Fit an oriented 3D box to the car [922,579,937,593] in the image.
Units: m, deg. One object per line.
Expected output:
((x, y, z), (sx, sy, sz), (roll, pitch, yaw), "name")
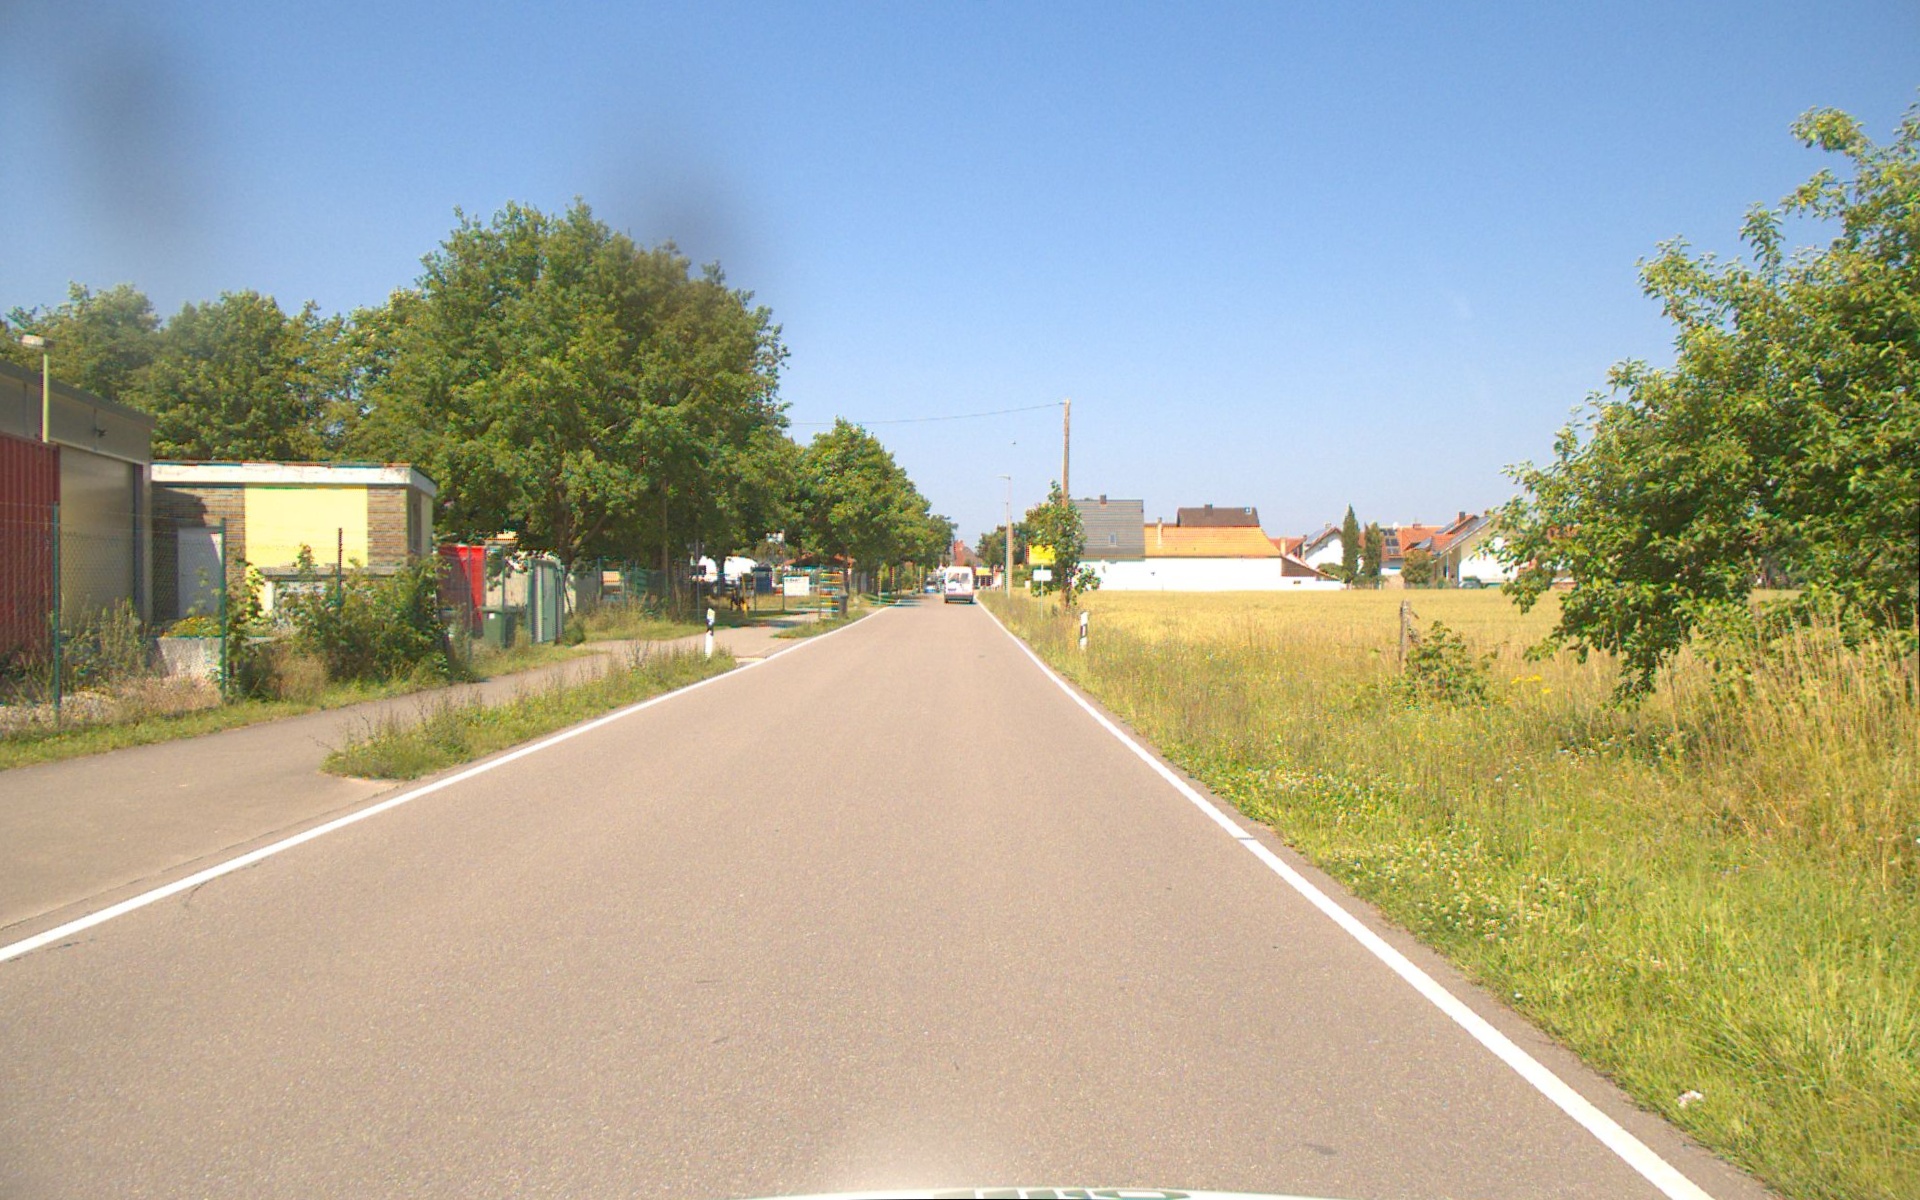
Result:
((-3.537, -1.646, 191.211), (1.735, 1.618, 4.000), (0, 1, 0), "car")

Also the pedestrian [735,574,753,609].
((-11.295, -0.437, 86.483), (0.704, 1.834, 0.711), (0, 0, 15), "pedestrian")

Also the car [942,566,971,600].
((-0.256, -1.171, 114.108), (1.953, 2.305, 4.726), (0, 1, 0), "car")

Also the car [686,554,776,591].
((-14.673, -1.771, 106.040), (5.559, 2.305, 1.972), (-1, 1, -40), "car")

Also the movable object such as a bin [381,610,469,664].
((-9.076, 0.609, 28.147), (1.076, 0.846, 1.855), (0, 1, -7), "movable object such as a bin")

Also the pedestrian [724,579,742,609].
((-11.779, -0.314, 85.744), (0.662, 1.593, 0.719), (0, 0, 15), "pedestrian")
